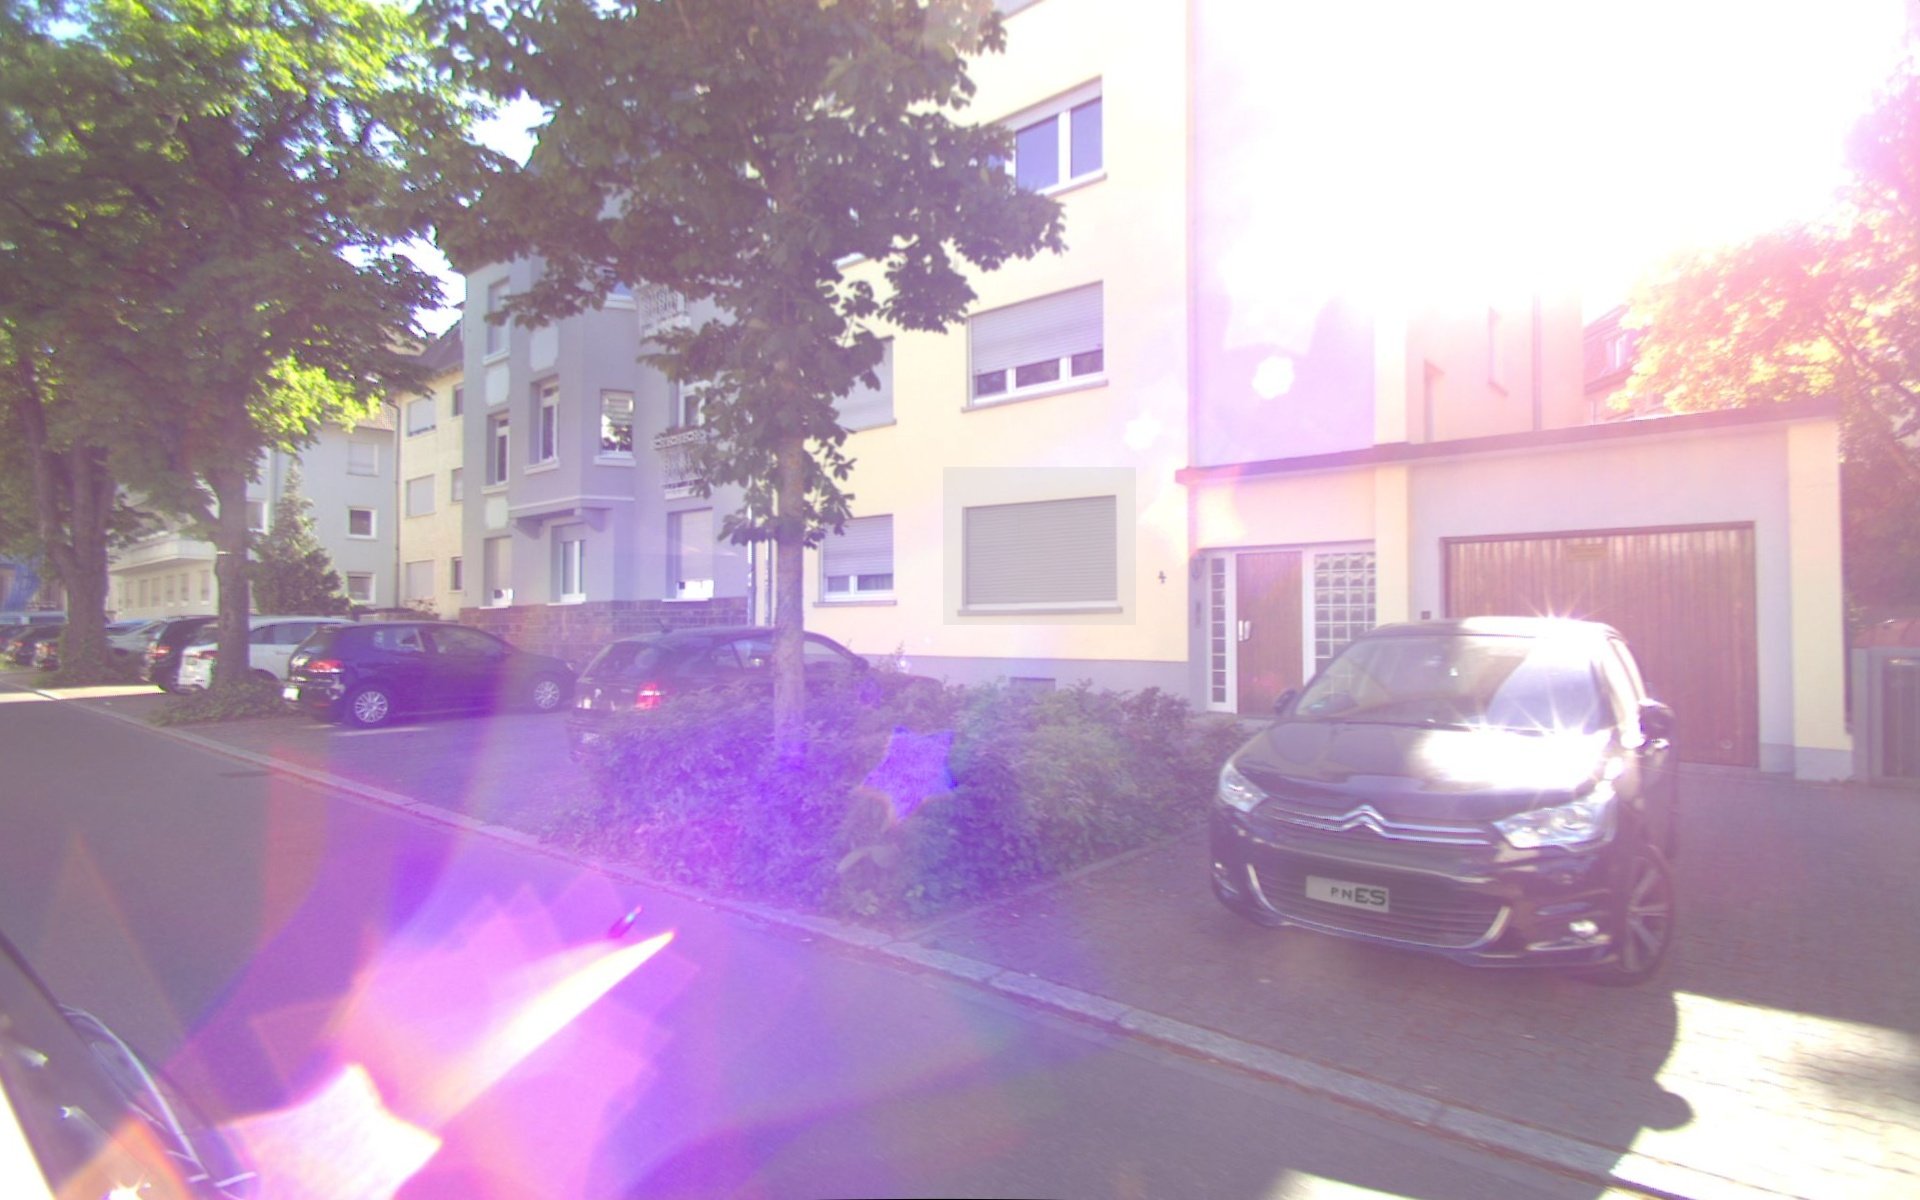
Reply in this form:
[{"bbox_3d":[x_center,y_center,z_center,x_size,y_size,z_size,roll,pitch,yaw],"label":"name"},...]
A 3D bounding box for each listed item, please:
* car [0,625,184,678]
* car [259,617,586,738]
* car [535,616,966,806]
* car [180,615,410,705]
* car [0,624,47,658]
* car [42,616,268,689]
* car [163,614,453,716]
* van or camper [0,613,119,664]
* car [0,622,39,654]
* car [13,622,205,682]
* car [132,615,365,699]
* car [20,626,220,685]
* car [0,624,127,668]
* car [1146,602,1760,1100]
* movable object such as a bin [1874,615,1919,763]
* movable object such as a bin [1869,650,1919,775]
[{"bbox_3d":[-26.685,1.533,31.133,1.859,1.510,4.145,-1,-2,39],"label":"car"},{"bbox_3d":[-7.943,1.035,15.252,1.798,1.455,3.983,0,1,39],"label":"car"},{"bbox_3d":[-1.879,0.932,10.054,1.769,1.432,3.947,-3,-2,40],"label":"car"},{"bbox_3d":[-13.256,1.123,20.332,1.767,1.587,3.484,-1,-1,36],"label":"car"},{"bbox_3d":[-43.788,1.891,45.756,1.710,1.474,3.604,-1,0,42],"label":"car"},{"bbox_3d":[-20.600,1.277,26.041,1.822,1.665,4.340,-2,-1,41],"label":"car"},{"bbox_3d":[-11.466,1.060,17.999,1.805,1.496,3.982,-2,0,40],"label":"car"},{"bbox_3d":[-35.761,1.476,39.344,1.963,1.929,4.451,-1,-2,40],"label":"van or camper"},{"bbox_3d":[-51.117,1.993,52.628,1.830,1.619,4.545,-1,-1,38],"label":"car"},{"bbox_3d":[-24.443,1.468,29.172,1.876,1.604,3.948,-1,-2,39],"label":"car"},{"bbox_3d":[-15.215,1.153,21.770,1.848,1.587,3.820,-2,-1,43],"label":"car"},{"bbox_3d":[-22.918,1.481,27.726,1.696,1.479,3.946,-1,-2,40],"label":"car"},{"bbox_3d":[-33.559,1.665,37.564,1.662,1.510,3.903,-1,-1,43],"label":"car"},{"bbox_3d":[2.921,0.796,5.420,1.999,1.511,4.130,0,1,40],"label":"car"},{"bbox_3d":[9.589,0.860,9.889,0.948,1.408,0.666,0,0,41],"label":"movable object such as a bin"},{"bbox_3d":[8.830,1.021,9.196,0.832,1.065,0.666,0,0,41],"label":"movable object such as a bin"}]
